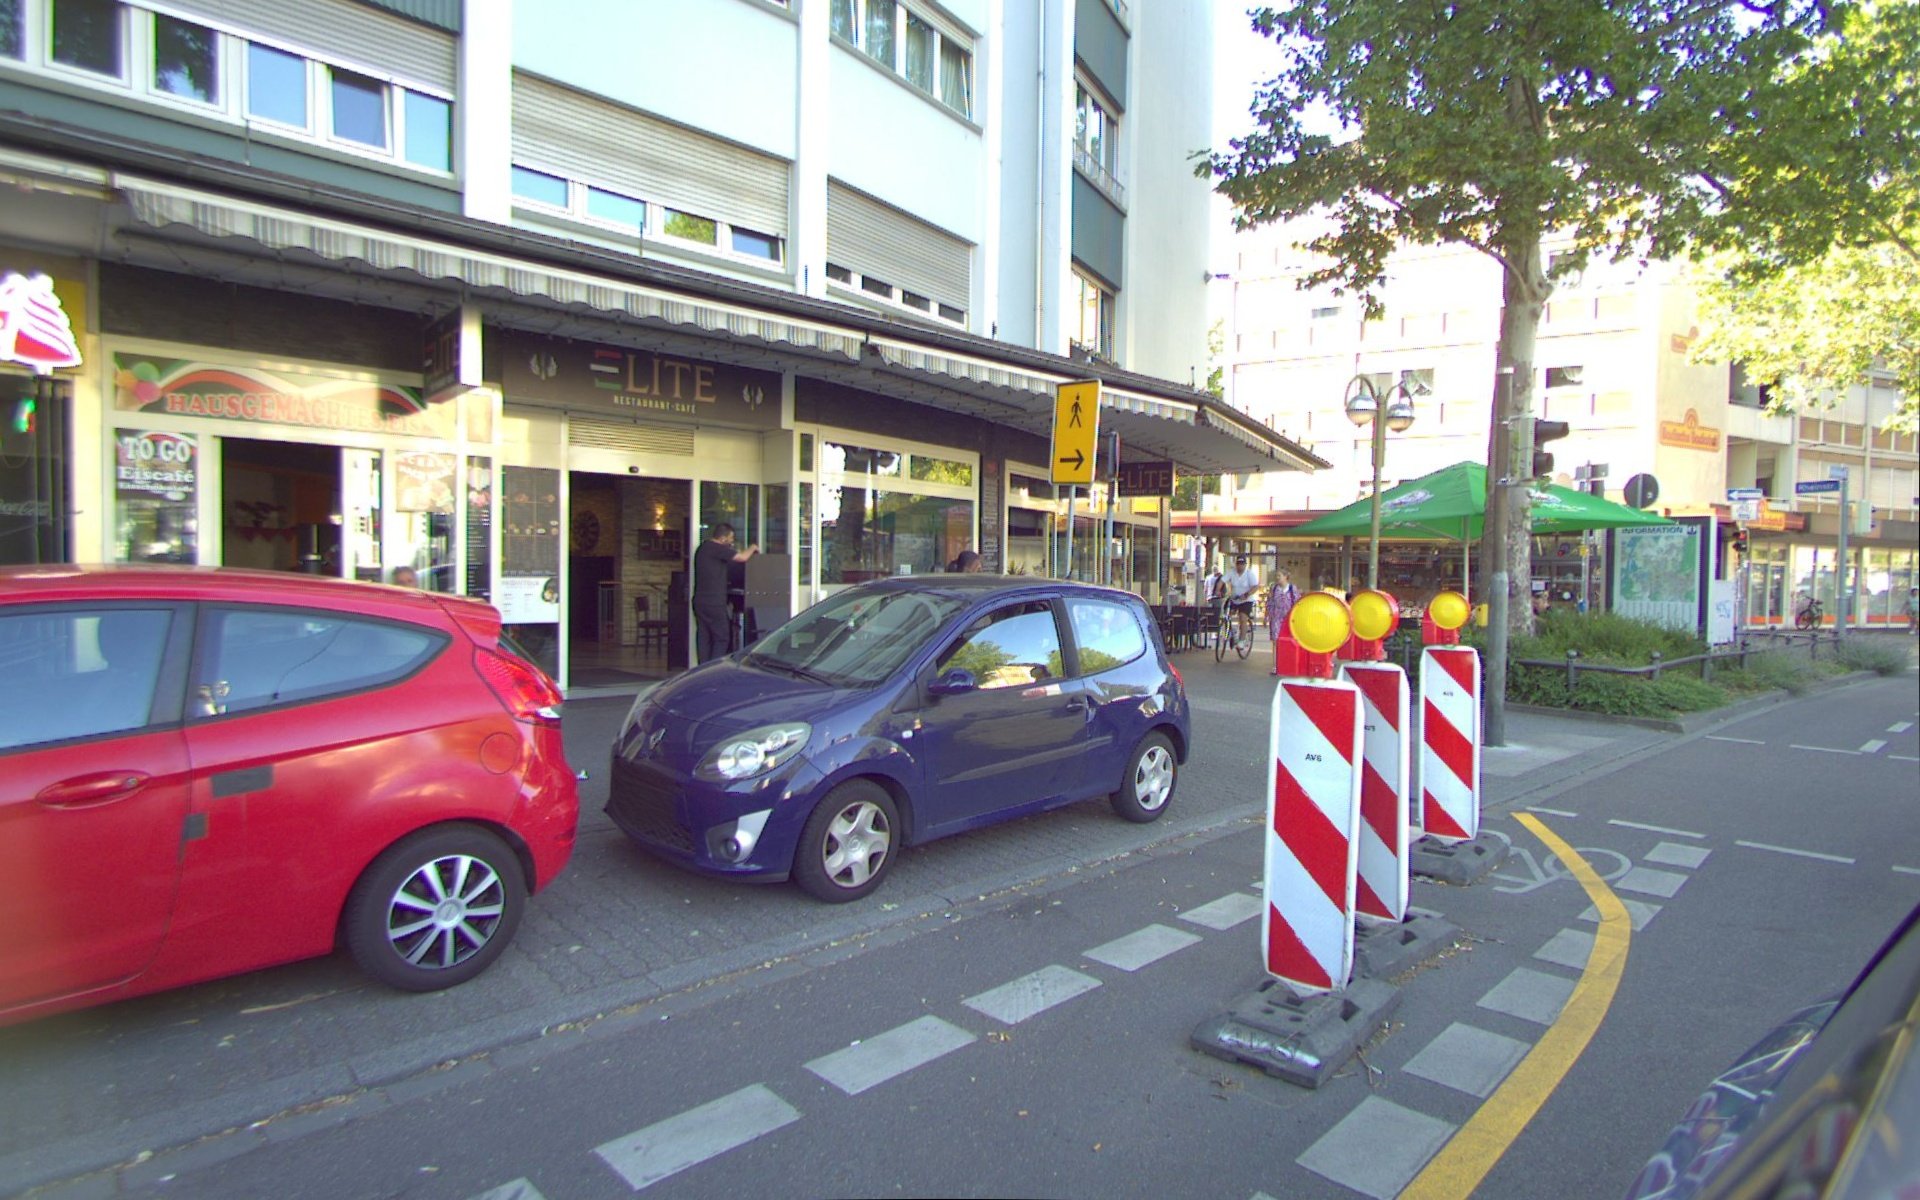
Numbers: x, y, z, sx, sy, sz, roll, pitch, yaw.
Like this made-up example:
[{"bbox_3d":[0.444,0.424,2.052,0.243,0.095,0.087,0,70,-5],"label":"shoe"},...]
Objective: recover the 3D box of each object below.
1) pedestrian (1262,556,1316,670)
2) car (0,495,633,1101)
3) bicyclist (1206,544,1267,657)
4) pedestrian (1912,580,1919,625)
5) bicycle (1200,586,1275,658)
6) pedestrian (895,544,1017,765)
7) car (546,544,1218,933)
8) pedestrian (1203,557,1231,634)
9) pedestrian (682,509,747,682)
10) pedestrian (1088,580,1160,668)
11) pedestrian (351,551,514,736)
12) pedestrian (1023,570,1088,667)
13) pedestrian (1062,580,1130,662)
[{"bbox_3d":[4.927,0.179,15.143,0.624,1.657,0.525,2,1,34],"label":"pedestrian"},{"bbox_3d":[-3.241,0.471,3.242,3.761,1.614,1.784,-1,5,-45],"label":"car"},{"bbox_3d":[4.700,-0.006,17.158,0.747,1.849,0.916,2,2,31],"label":"bicyclist"},{"bbox_3d":[31.526,0.079,32.925,0.520,1.455,0.630,0,1,-21],"label":"pedestrian"},{"bbox_3d":[4.761,0.350,17.270,0.746,1.144,1.865,2,1,31],"label":"bicycle"},{"bbox_3d":[-0.028,0.398,8.127,0.783,1.667,0.583,-1,2,-42],"label":"pedestrian"},{"bbox_3d":[-0.278,0.506,5.898,3.551,1.485,1.769,-1,5,-44],"label":"car"},{"bbox_3d":[6.713,-0.129,26.406,0.640,1.983,0.885,1,1,17],"label":"pedestrian"},{"bbox_3d":[-2.626,-0.065,10.832,0.547,1.800,0.395,-1,4,-43],"label":"pedestrian"},{"bbox_3d":[2.346,0.327,14.532,0.685,1.207,0.881,0,1,-18],"label":"pedestrian"},{"bbox_3d":[-4.245,0.298,8.130,0.937,1.352,1.069,0,2,-41],"label":"pedestrian"},{"bbox_3d":[1.336,0.250,14.288,0.685,1.323,0.793,1,1,-13],"label":"pedestrian"},{"bbox_3d":[2.069,0.303,15.404,0.776,1.207,0.648,0,2,-34],"label":"pedestrian"}]
